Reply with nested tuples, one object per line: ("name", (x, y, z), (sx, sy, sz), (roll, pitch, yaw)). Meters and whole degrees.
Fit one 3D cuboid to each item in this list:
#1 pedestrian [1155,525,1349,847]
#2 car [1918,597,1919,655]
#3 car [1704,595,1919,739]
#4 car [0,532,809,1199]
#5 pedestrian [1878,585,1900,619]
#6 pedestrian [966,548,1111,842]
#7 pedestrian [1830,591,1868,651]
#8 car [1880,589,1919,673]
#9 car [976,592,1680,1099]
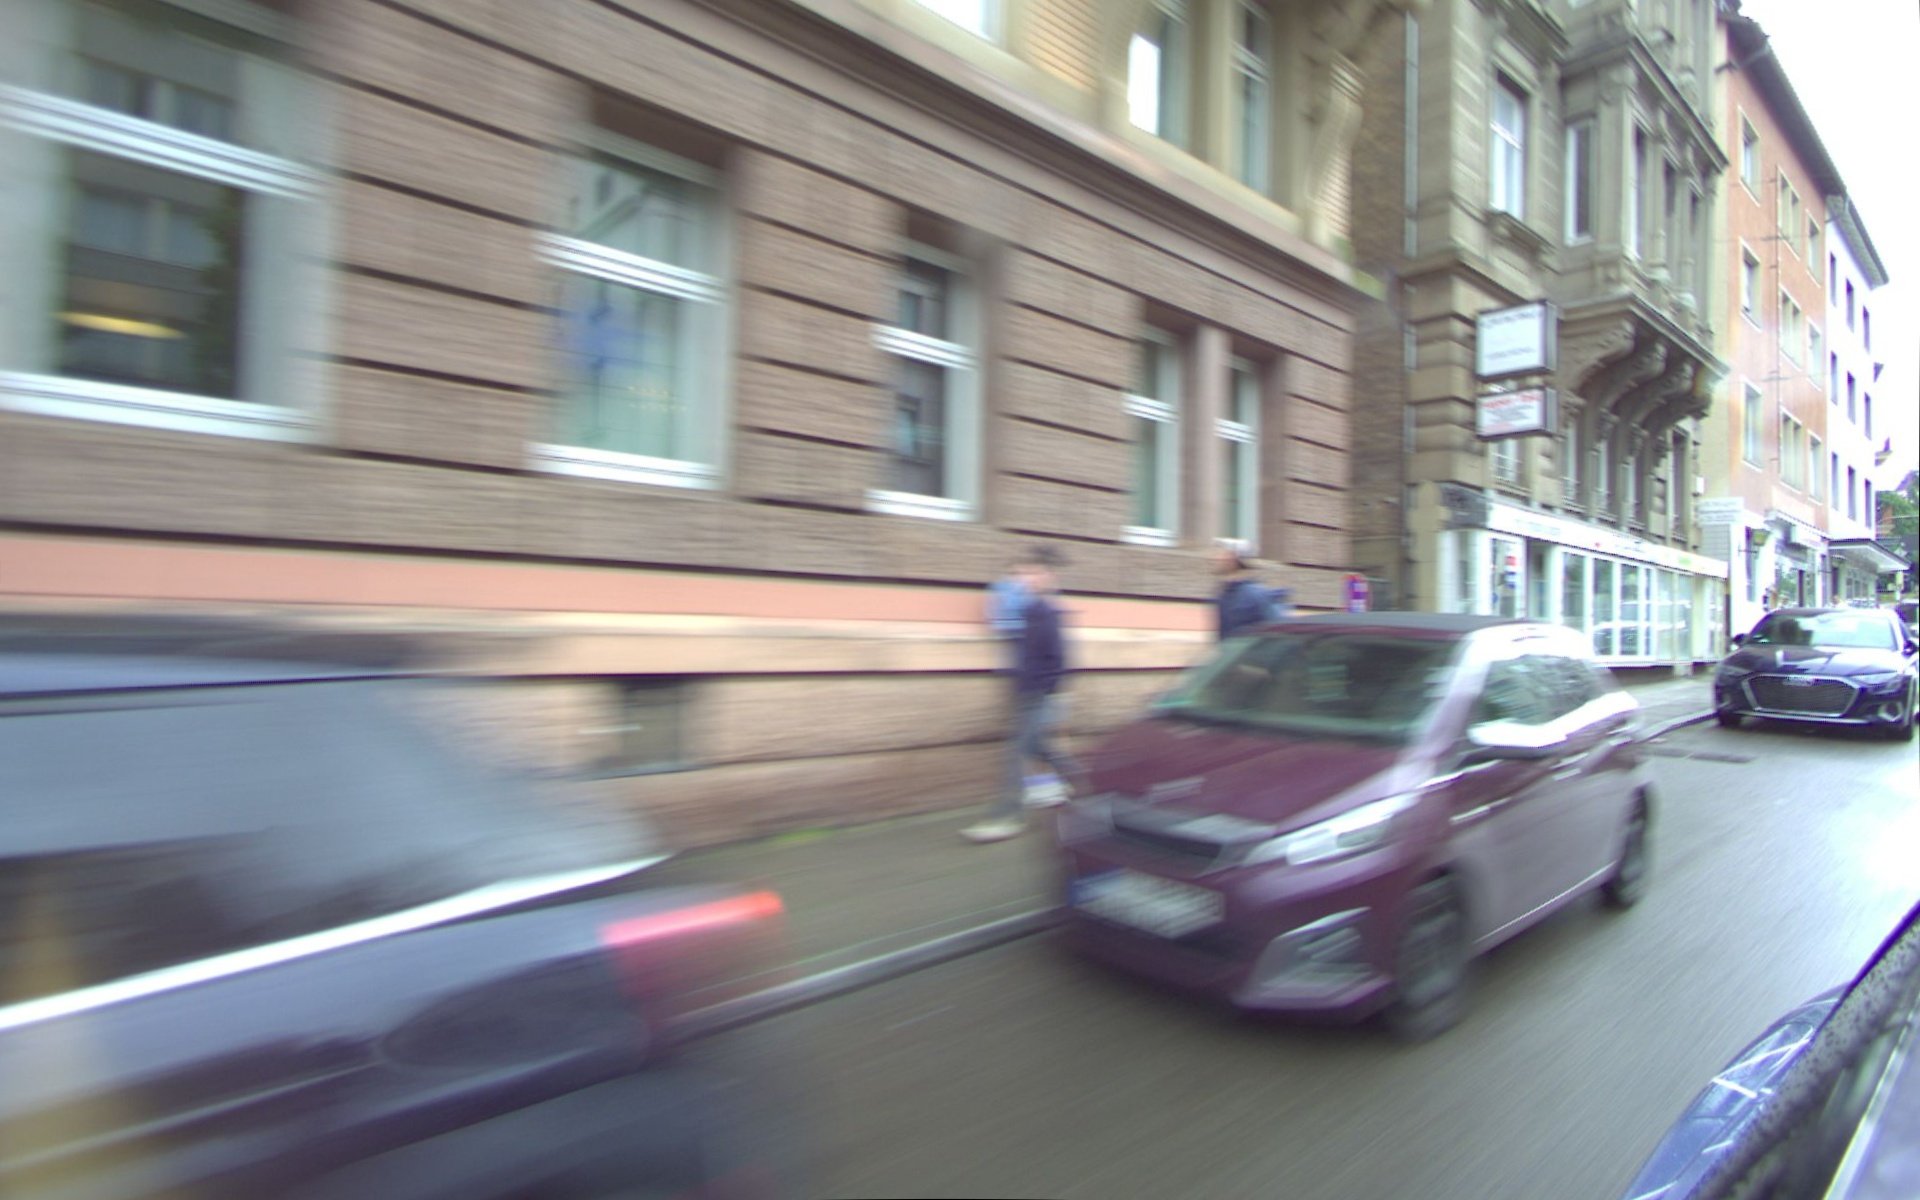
("pedestrian", (1.838, 0.488, 6.362), (0.944, 1.842, 0.704), (2, 1, -41))
("car", (26.534, 0.686, 26.417), (4.506, 1.474, 1.805), (1, 0, -41))
("car", (10.816, 0.683, 12.408), (4.182, 1.424, 1.795), (-1, 0, -40))
("car", (-2.151, 0.671, 0.960), (3.756, 1.478, 1.579), (0, 0, -43))
("pedestrian", (50.940, 0.103, 55.505), (0.745, 1.785, 0.807), (3, 3, 38))
("pedestrian", (0.458, 0.499, 5.911), (0.666, 1.598, 0.520), (-2, 3, -41))
("pedestrian", (24.288, 0.578, 27.656), (0.686, 1.592, 0.752), (2, -1, 38))
("car", (21.358, 0.603, 21.740), (4.507, 1.653, 1.848), (-1, 0, -41))
("car", (1.885, 0.704, 4.708), (3.415, 1.478, 1.652), (0, 0, -41))
